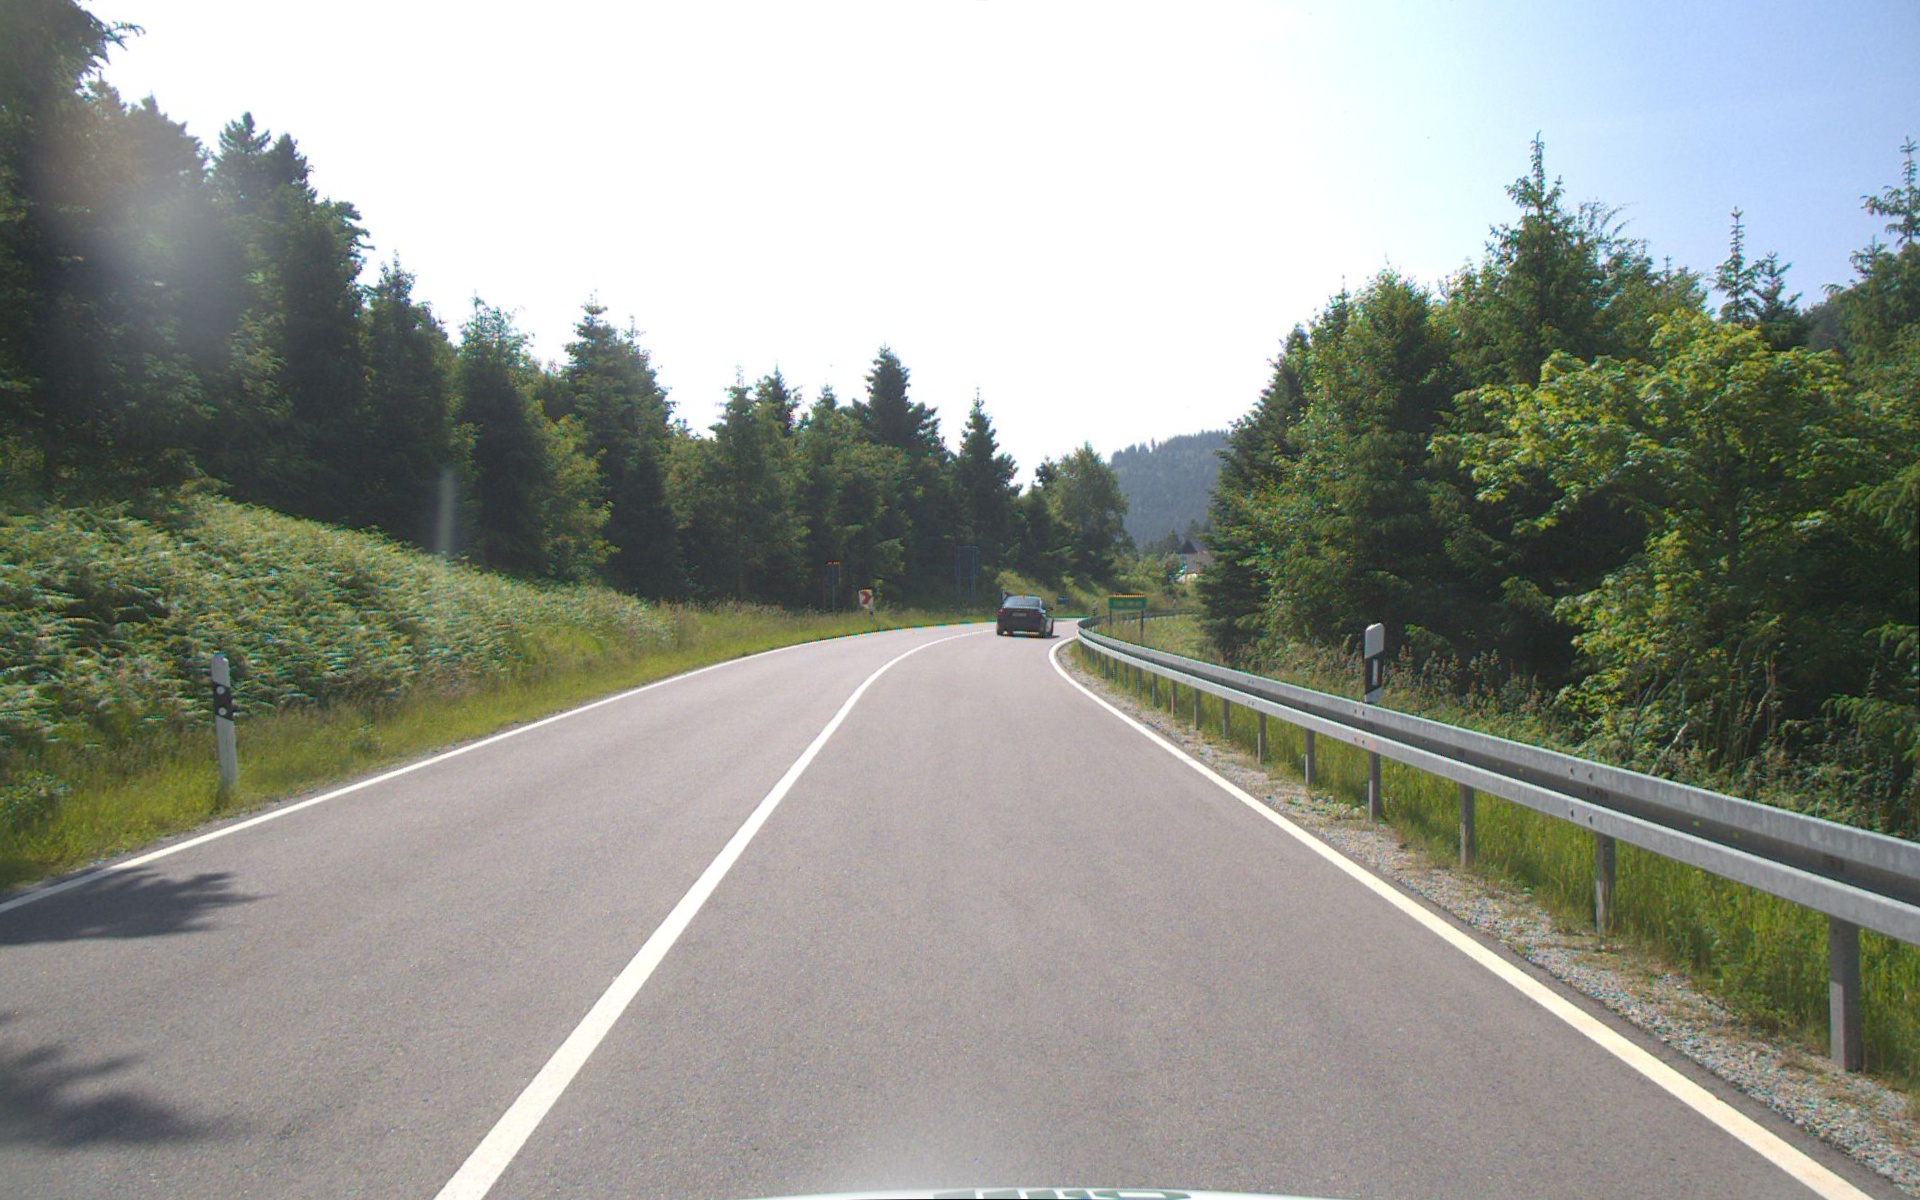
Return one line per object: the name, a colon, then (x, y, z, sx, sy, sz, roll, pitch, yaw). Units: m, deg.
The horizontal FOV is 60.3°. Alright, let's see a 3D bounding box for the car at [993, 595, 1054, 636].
car: (2.322, 0.568, 60.068, 1.738, 1.467, 3.712, 0, -1, 10)
